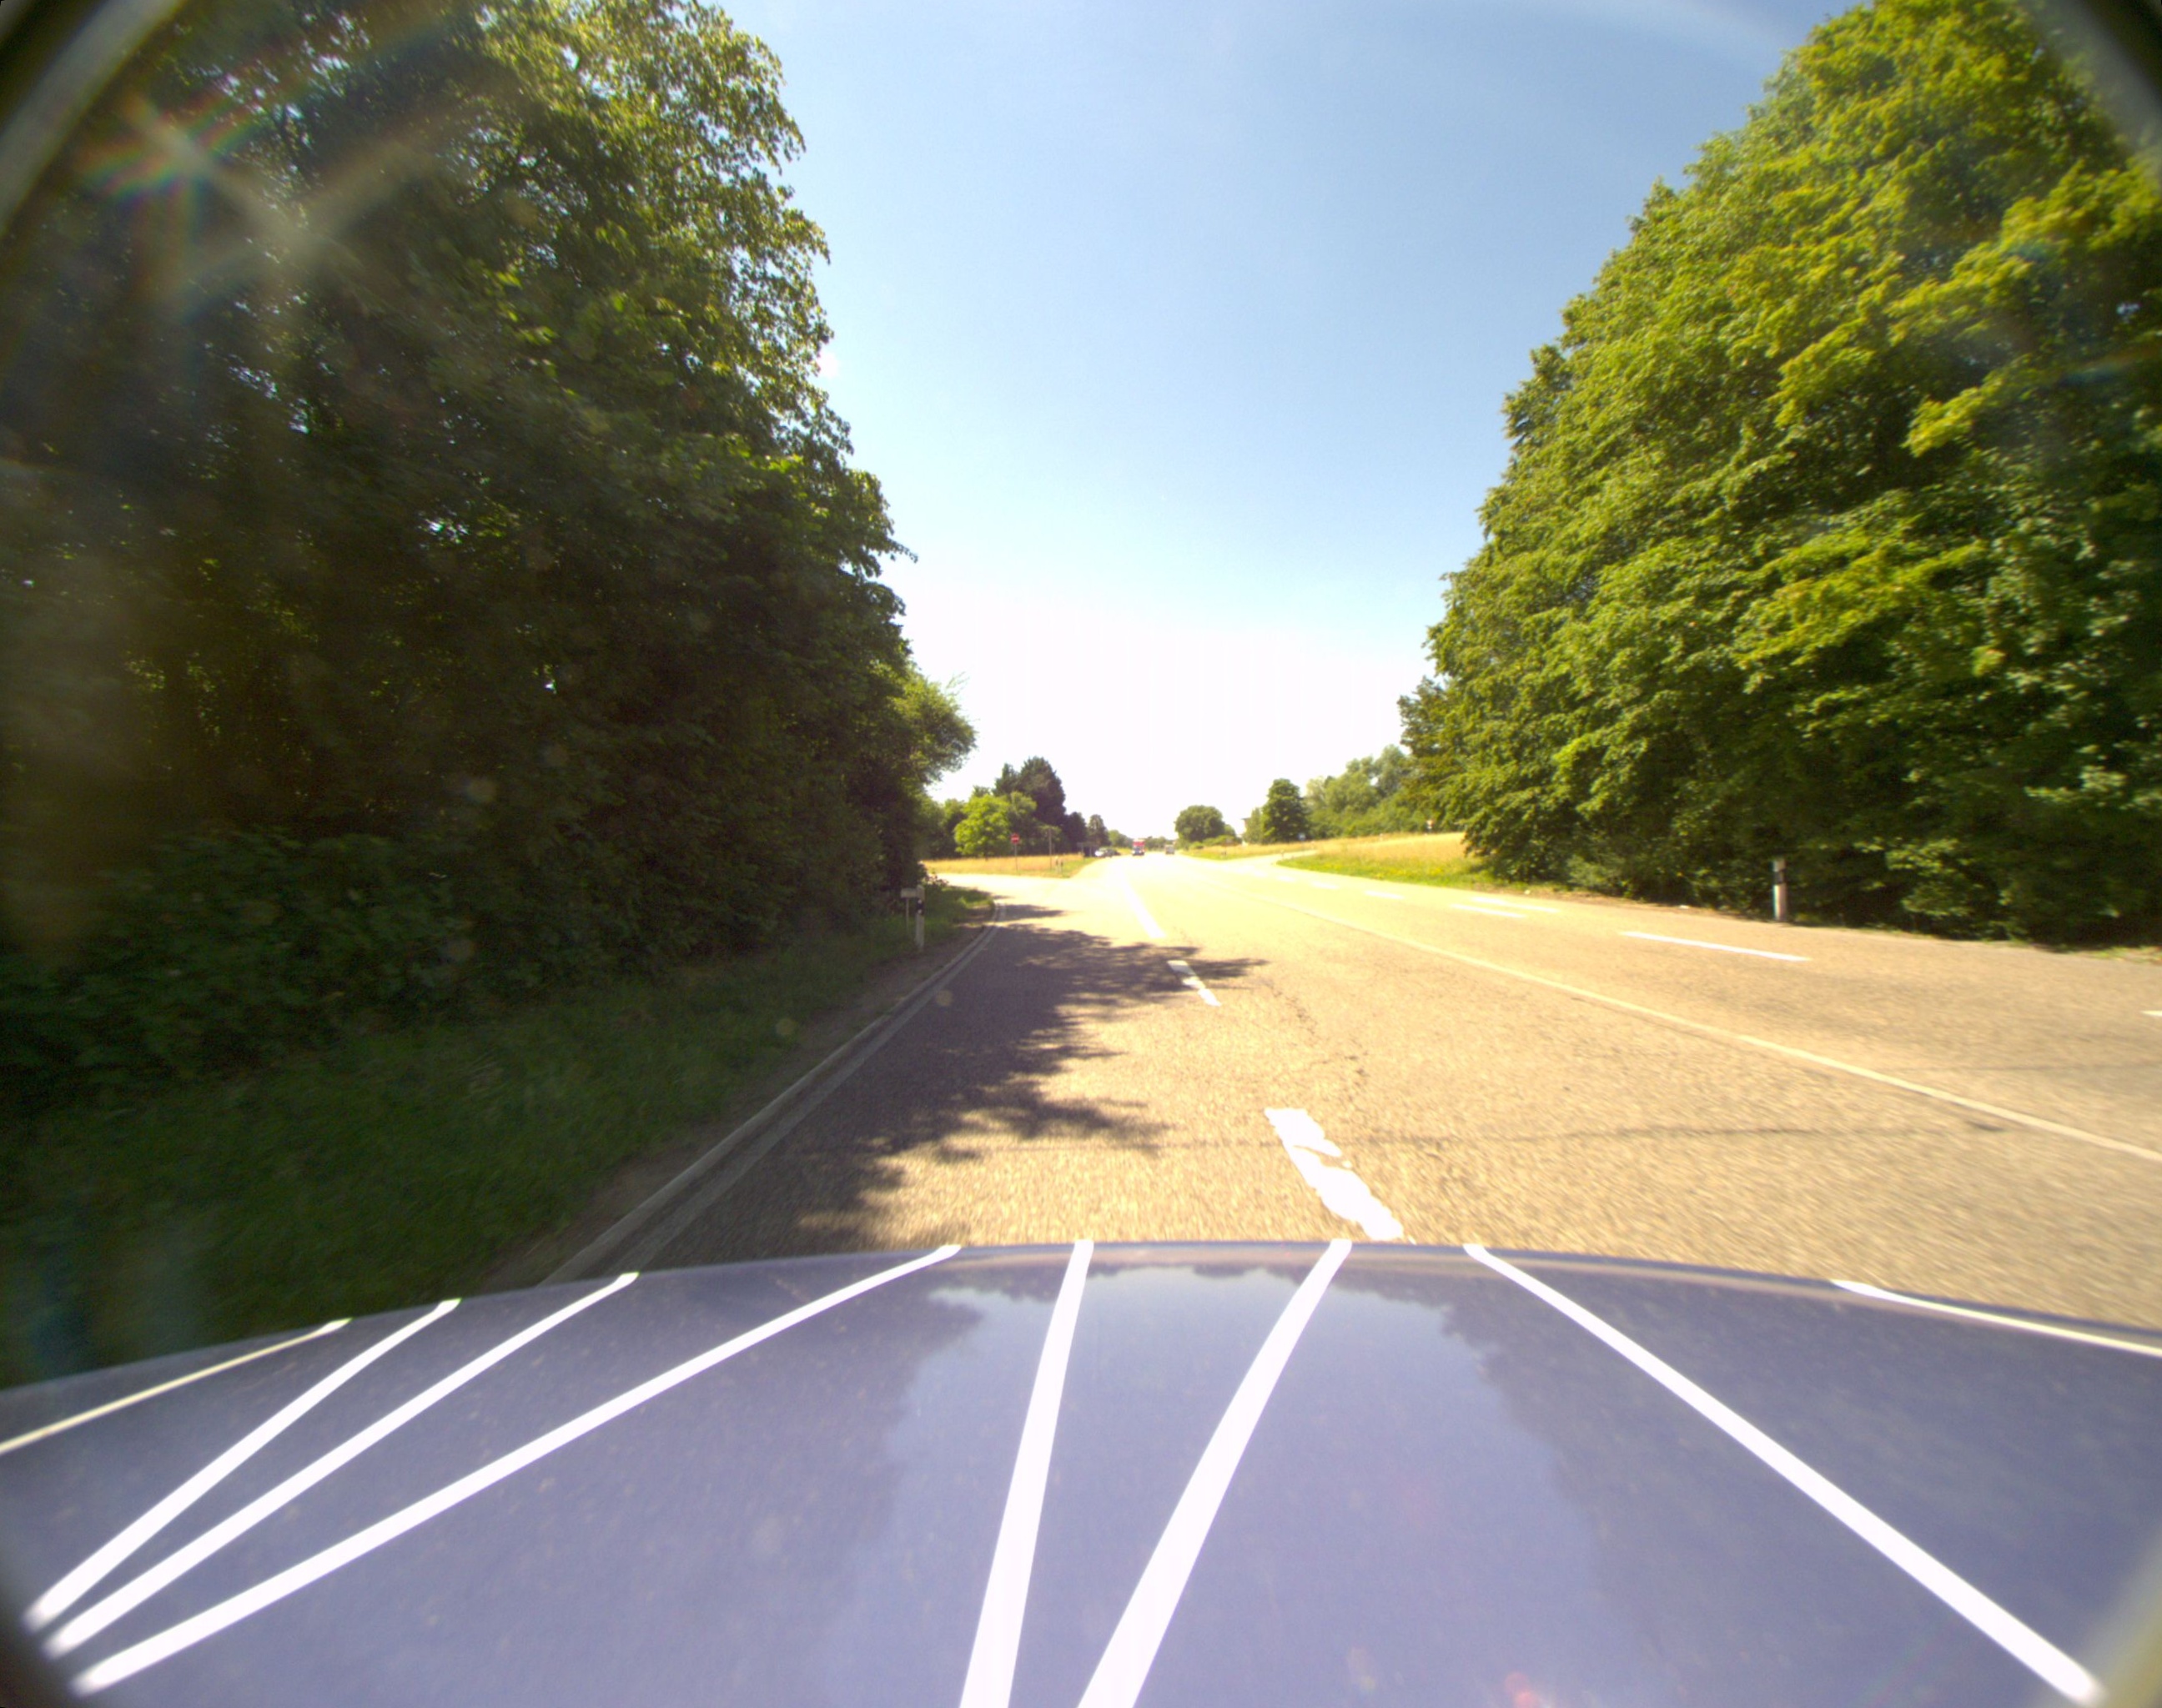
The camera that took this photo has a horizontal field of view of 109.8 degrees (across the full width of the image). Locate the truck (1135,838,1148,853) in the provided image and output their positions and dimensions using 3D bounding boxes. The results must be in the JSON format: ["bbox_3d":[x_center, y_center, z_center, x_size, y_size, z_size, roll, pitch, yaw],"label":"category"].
[{"bbox_3d":[11.953,-1.676,151.139,2.457,2.926,6.975,-1,1,4],"label":"truck"}]

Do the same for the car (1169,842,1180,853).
[{"bbox_3d":[18.597,-1.310,151.060,1.997,1.952,4.002,-1,1,8],"label":"car"}]

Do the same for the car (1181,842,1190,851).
[{"bbox_3d":[25.712,-1.863,186.818,1.844,2.002,4.001,-2,1,5],"label":"car"}]

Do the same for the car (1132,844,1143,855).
[{"bbox_3d":[9.912,-0.836,133.526,1.746,1.833,4.001,-1,1,5],"label":"car"}]

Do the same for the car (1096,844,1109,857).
[{"bbox_3d":[3.622,-0.600,127.744,1.998,2.002,4.000,-1,1,2],"label":"car"}]
